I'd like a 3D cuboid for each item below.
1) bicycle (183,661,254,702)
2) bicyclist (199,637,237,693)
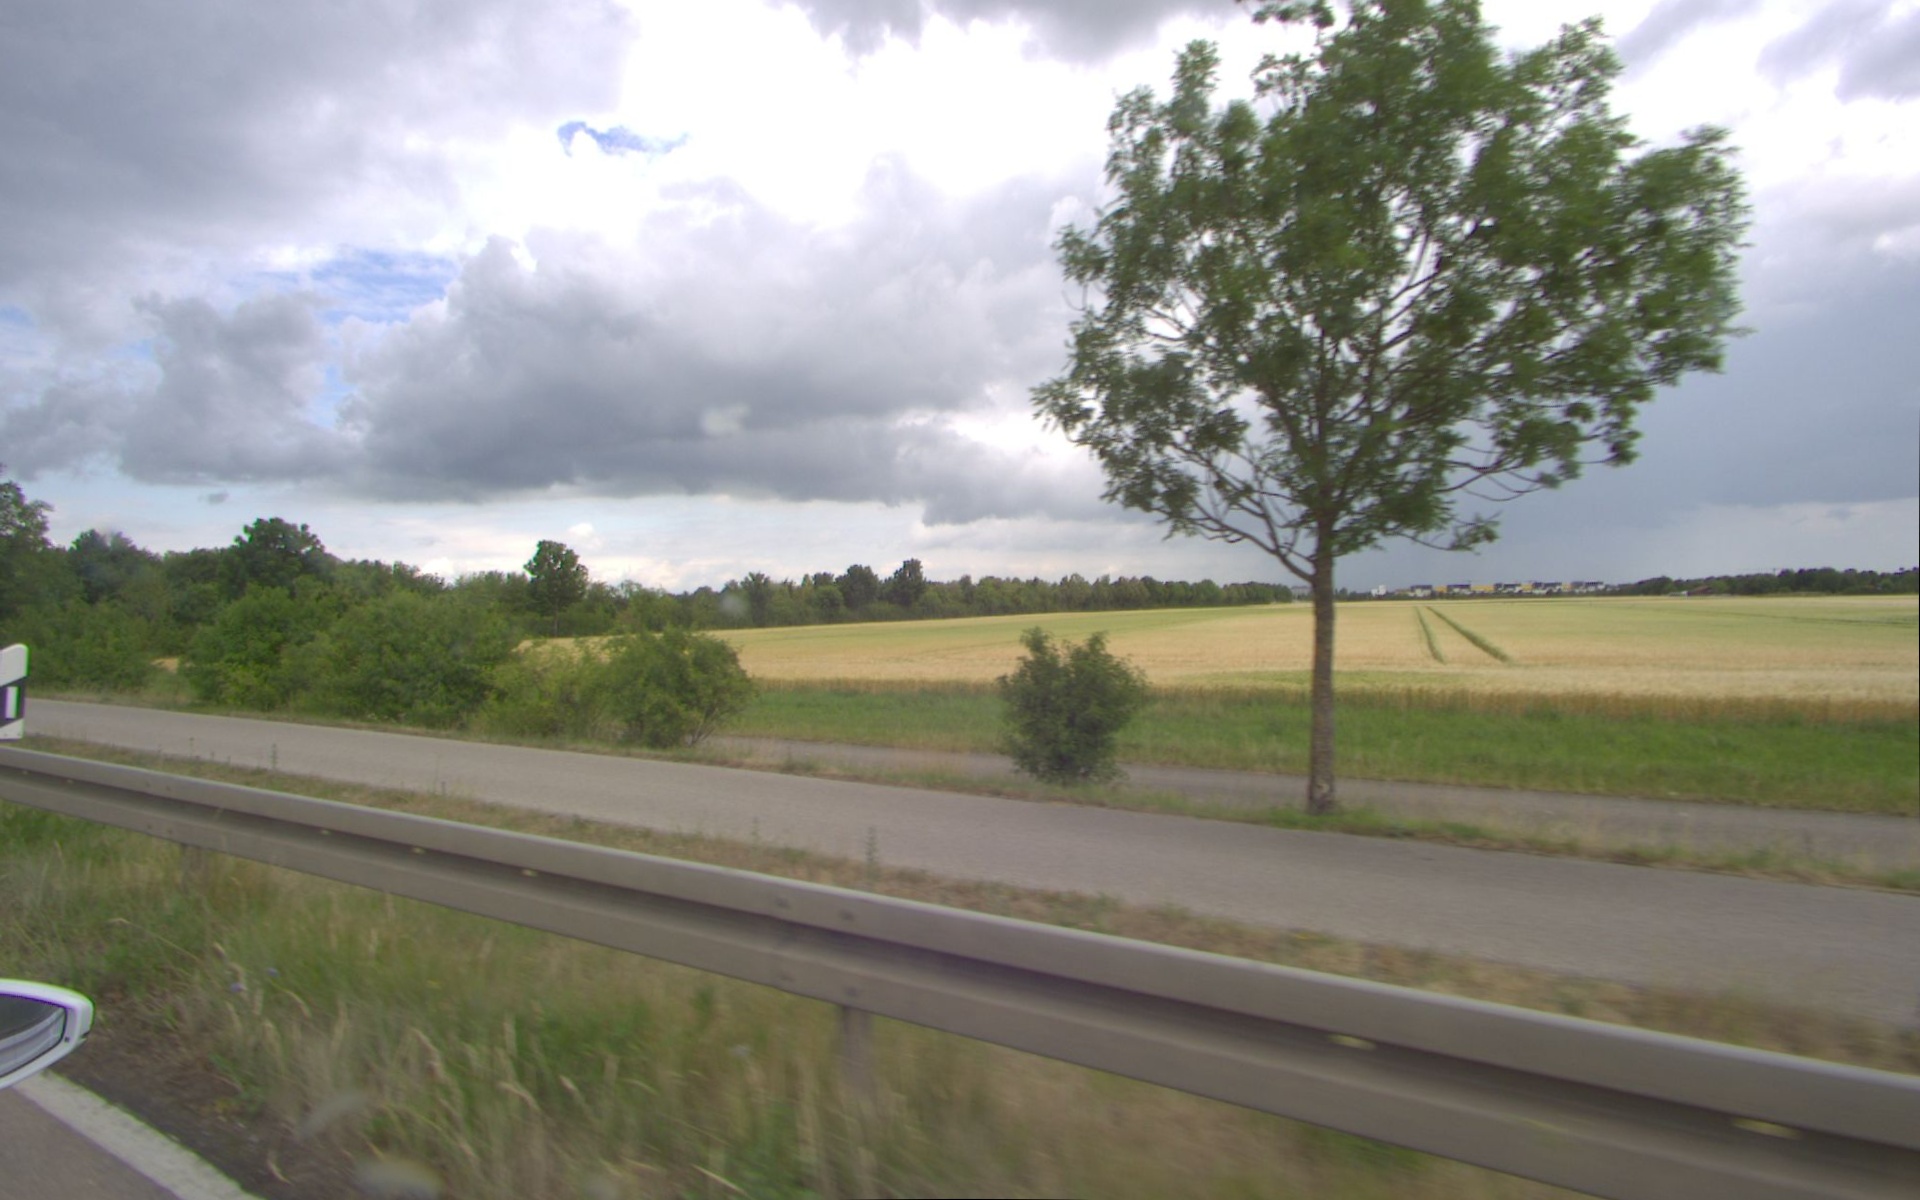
[{"bbox_3d":[-21.571,2.348,29.119,2.789,1.152,0.655,-2,-2,31],"label":"bicycle"},{"bbox_3d":[-21.598,1.894,29.140,0.733,1.601,0.655,-1,-2,31],"label":"bicyclist"}]
